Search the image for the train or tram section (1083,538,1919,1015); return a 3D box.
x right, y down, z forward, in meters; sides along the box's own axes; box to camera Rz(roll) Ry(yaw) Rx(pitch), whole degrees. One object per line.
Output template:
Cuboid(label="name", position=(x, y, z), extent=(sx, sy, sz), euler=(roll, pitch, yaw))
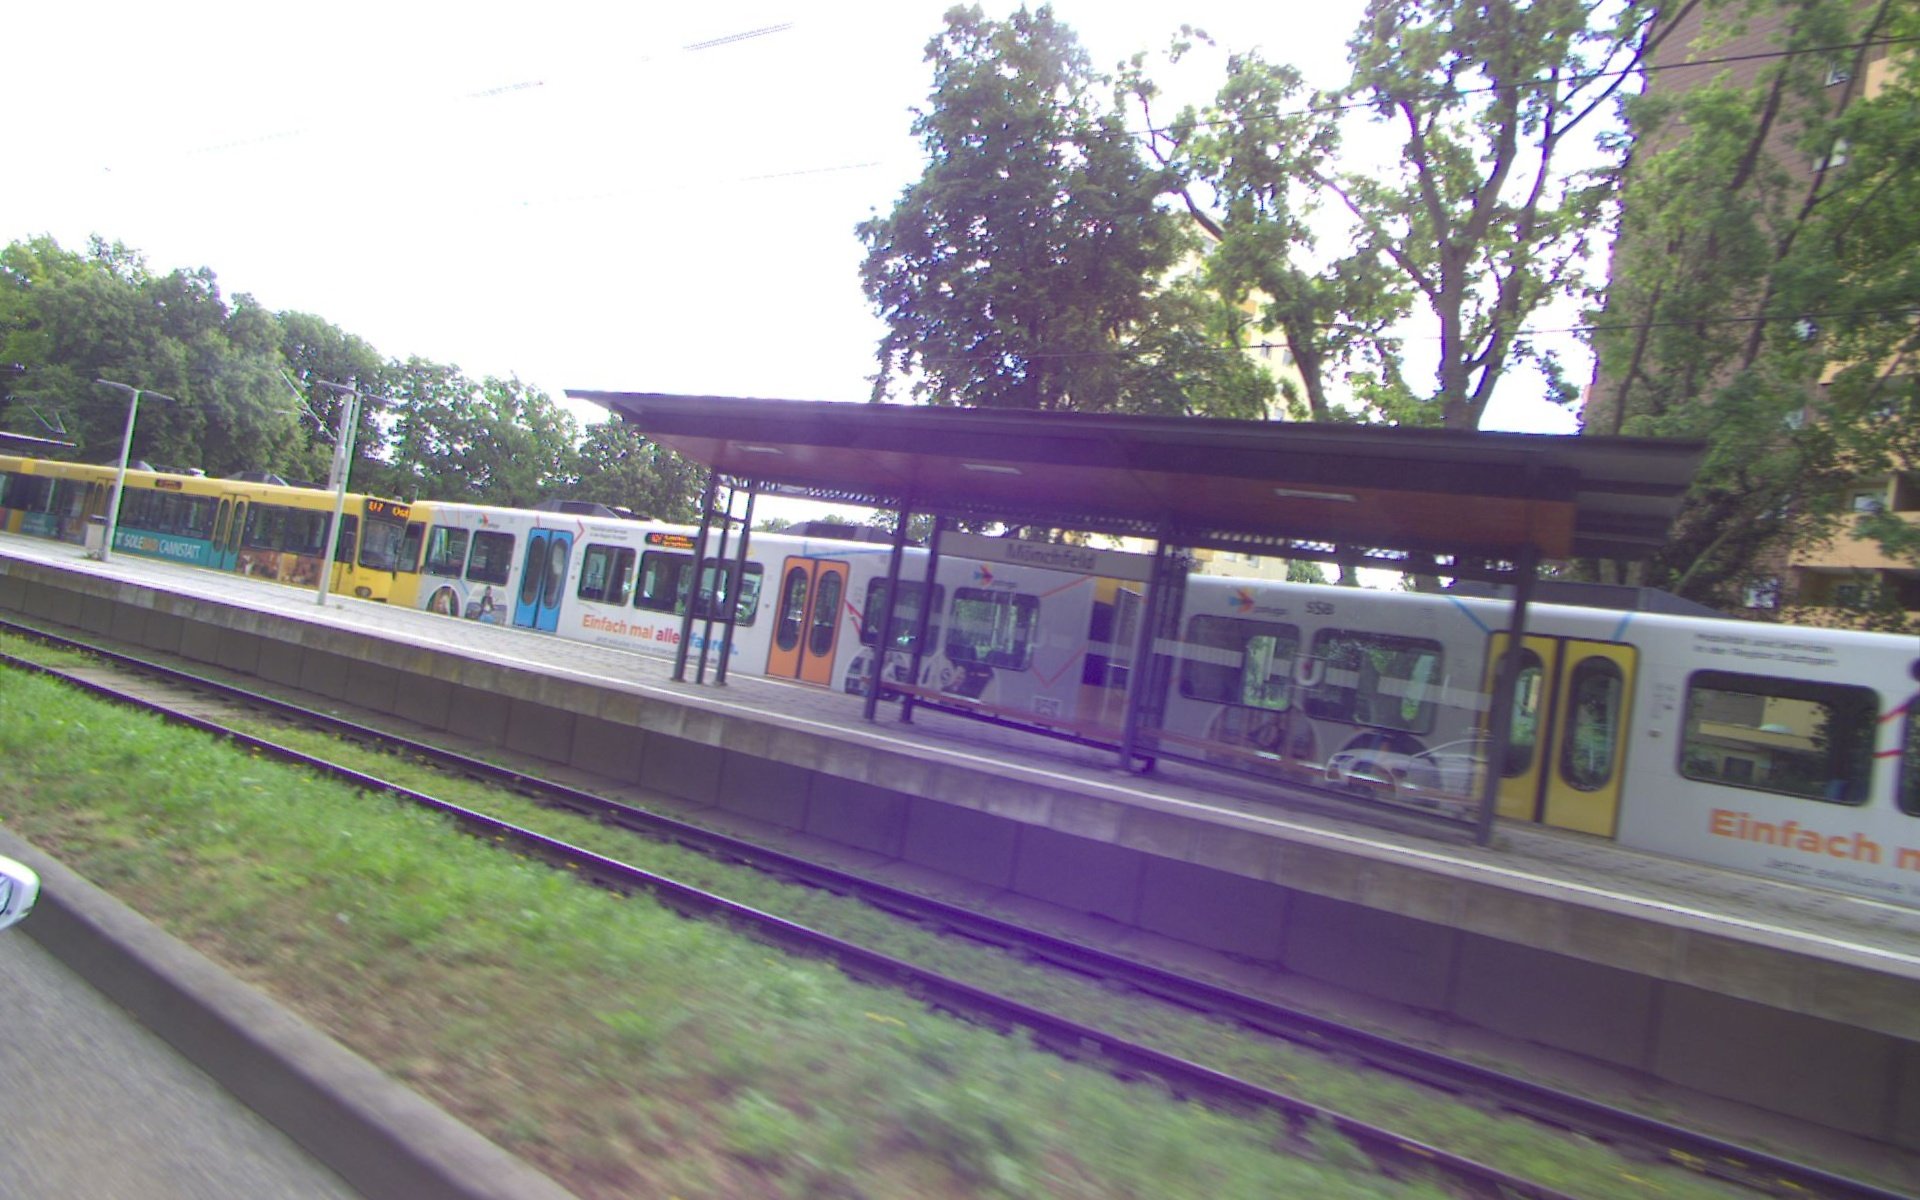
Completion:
Cuboid(label="train or tram section", position=(10.164, 2.114, 9.866), extent=(18.239, 3.776, 2.819), euler=(7, -3, 35))

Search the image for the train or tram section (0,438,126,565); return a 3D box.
Cuboid(label="train or tram section", position=(-38.426, -4.327, 38.309), extent=(19.173, 3.627, 2.824), euler=(8, -3, 28))

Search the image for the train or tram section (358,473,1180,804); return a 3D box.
Cuboid(label="train or tram section", position=(-5.260, 0.111, 20.130), extent=(18.615, 3.839, 2.822), euler=(7, -3, 31))

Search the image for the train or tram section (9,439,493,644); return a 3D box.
Cuboid(label="train or tram section", position=(-21.464, -2.047, 29.377), extent=(19.173, 3.776, 2.824), euler=(8, -3, 28))
